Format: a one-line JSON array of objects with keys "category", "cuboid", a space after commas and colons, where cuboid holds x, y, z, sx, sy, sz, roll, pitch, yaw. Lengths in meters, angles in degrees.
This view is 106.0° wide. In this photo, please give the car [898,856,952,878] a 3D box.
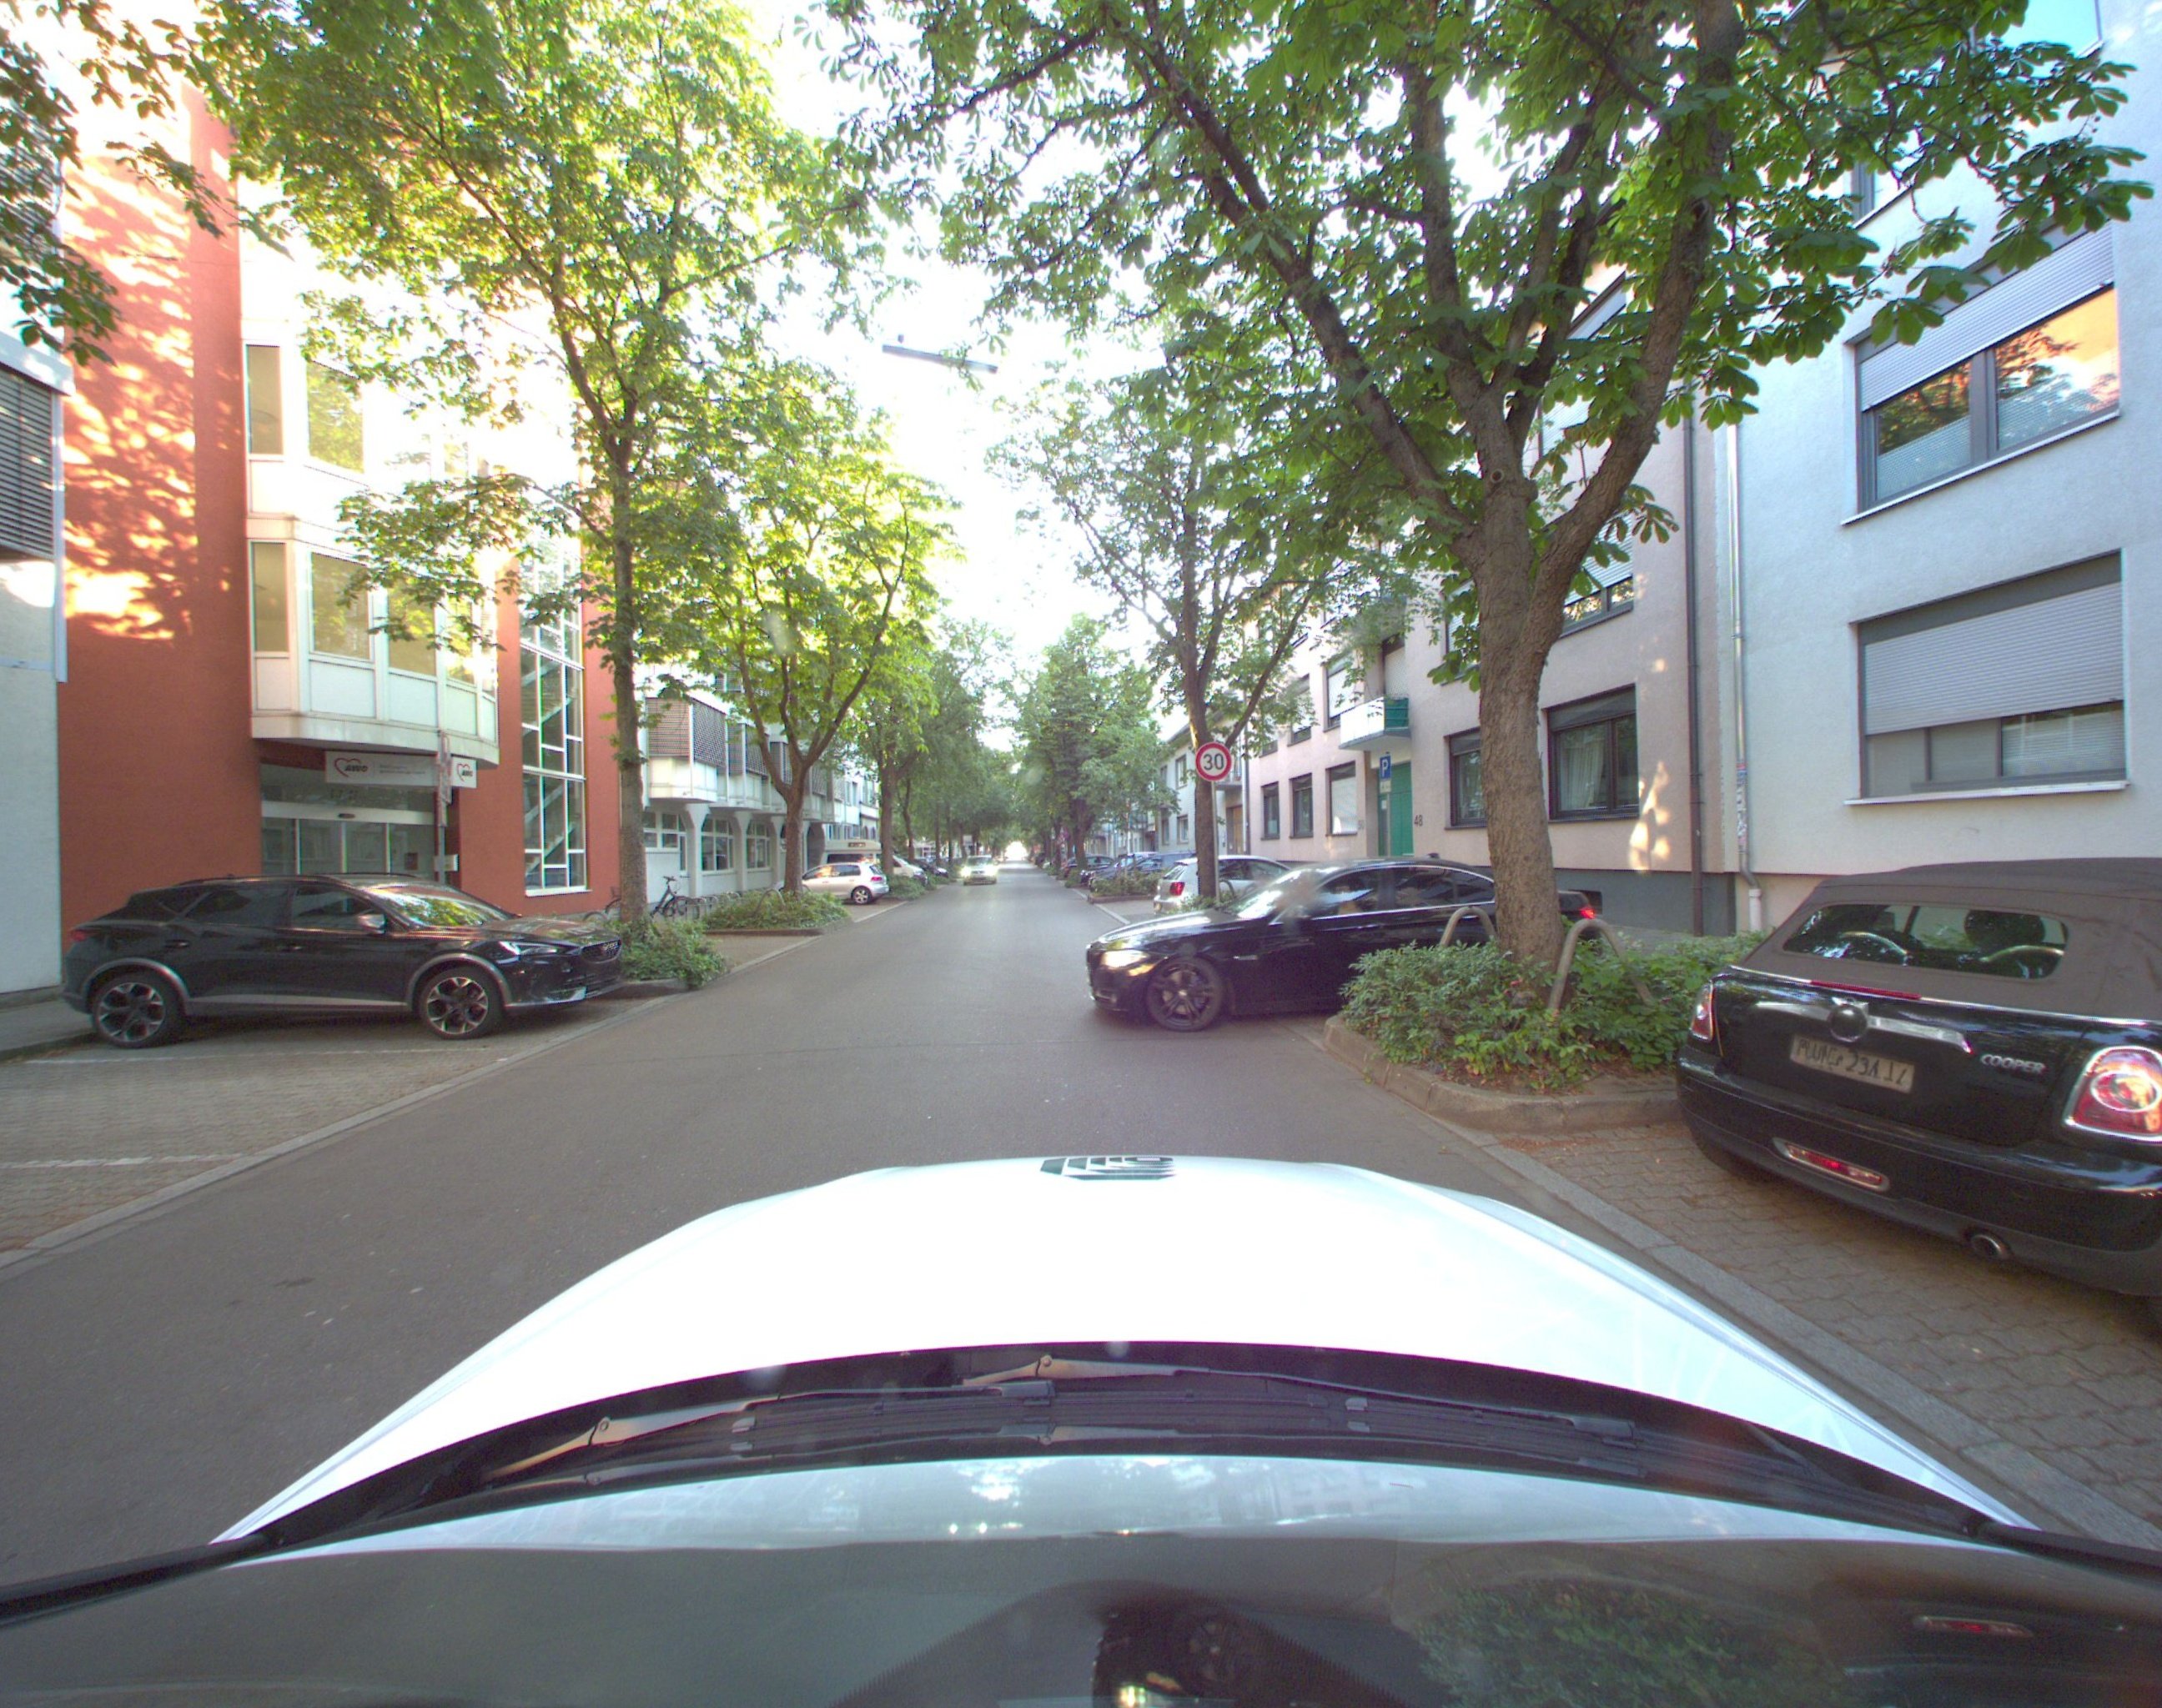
[{"category": "car", "cuboid": [-12.416, 1.051, 64.929, 3.959, 1.619, 1.783, -2, 0, -4]}]

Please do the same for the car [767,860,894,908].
[{"category": "car", "cuboid": [-8.862, 1.036, 29.046, 3.960, 1.517, 1.783, -2, 0, -4]}]

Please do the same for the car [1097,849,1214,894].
[{"category": "car", "cuboid": [2.659, 0.619, 29.709, 3.963, 1.476, 1.781, -2, 0, -7]}]

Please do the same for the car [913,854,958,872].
[{"category": "car", "cuboid": [-13.659, 0.850, 76.580, 3.959, 1.619, 1.783, -2, 0, -4]}]

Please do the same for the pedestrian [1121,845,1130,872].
[{"category": "pedestrian", "cuboid": [3.414, 0.346, 62.276, 0.587, 2.013, 0.669, -1, 0, -3]}]

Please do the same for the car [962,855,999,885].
[{"category": "car", "cuboid": [-5.613, 0.844, 45.854, 1.775, 1.562, 4.162, -1, 0, -4]}]

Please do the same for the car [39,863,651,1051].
[{"category": "car", "cuboid": [-7.035, 0.916, 8.235, 4.347, 1.517, 1.782, -2, 0, -5]}]

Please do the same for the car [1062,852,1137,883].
[{"category": "car", "cuboid": [1.001, 0.730, 45.047, 3.962, 1.527, 1.782, -2, 0, -5]}]

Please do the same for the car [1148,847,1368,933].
[{"category": "car", "cuboid": [3.415, 0.663, 16.081, 3.904, 1.476, 1.661, -2, 0, -7]}]

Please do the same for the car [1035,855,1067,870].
[{"category": "car", "cuboid": [-3.749, 1.041, 101.016, 3.959, 1.684, 1.783, -2, 0, -4]}]

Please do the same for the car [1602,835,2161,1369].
[{"category": "car", "cuboid": [4.335, 0.621, 3.232, 3.608, 1.363, 1.660, -2, 0, -8]}]

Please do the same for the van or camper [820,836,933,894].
[{"category": "van or camper", "cuboid": [-9.308, 0.468, 37.380, 4.656, 2.478, 1.997, -1, 0, -5]}]

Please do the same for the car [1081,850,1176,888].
[{"category": "car", "cuboid": [2.061, 0.654, 36.205, 3.962, 1.527, 1.782, -2, 0, -5]}]

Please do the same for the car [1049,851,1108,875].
[{"category": "car", "cuboid": [-0.192, 0.646, 56.951, 3.963, 1.527, 1.781, -2, 0, -6]}]

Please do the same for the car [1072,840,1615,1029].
[{"category": "car", "cuboid": [2.332, 0.679, 7.982, 4.736, 1.480, 1.797, -1, 0, -4]}]

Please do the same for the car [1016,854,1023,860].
[{"category": "car", "cuboid": [-16.731, 0.884, 220.104, 1.819, 1.531, 3.995, -1, 0, -4]}]

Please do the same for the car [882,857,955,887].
[{"category": "car", "cuboid": [-9.611, 1.027, 48.383, 3.960, 1.619, 1.783, -2, 0, -4]}]
